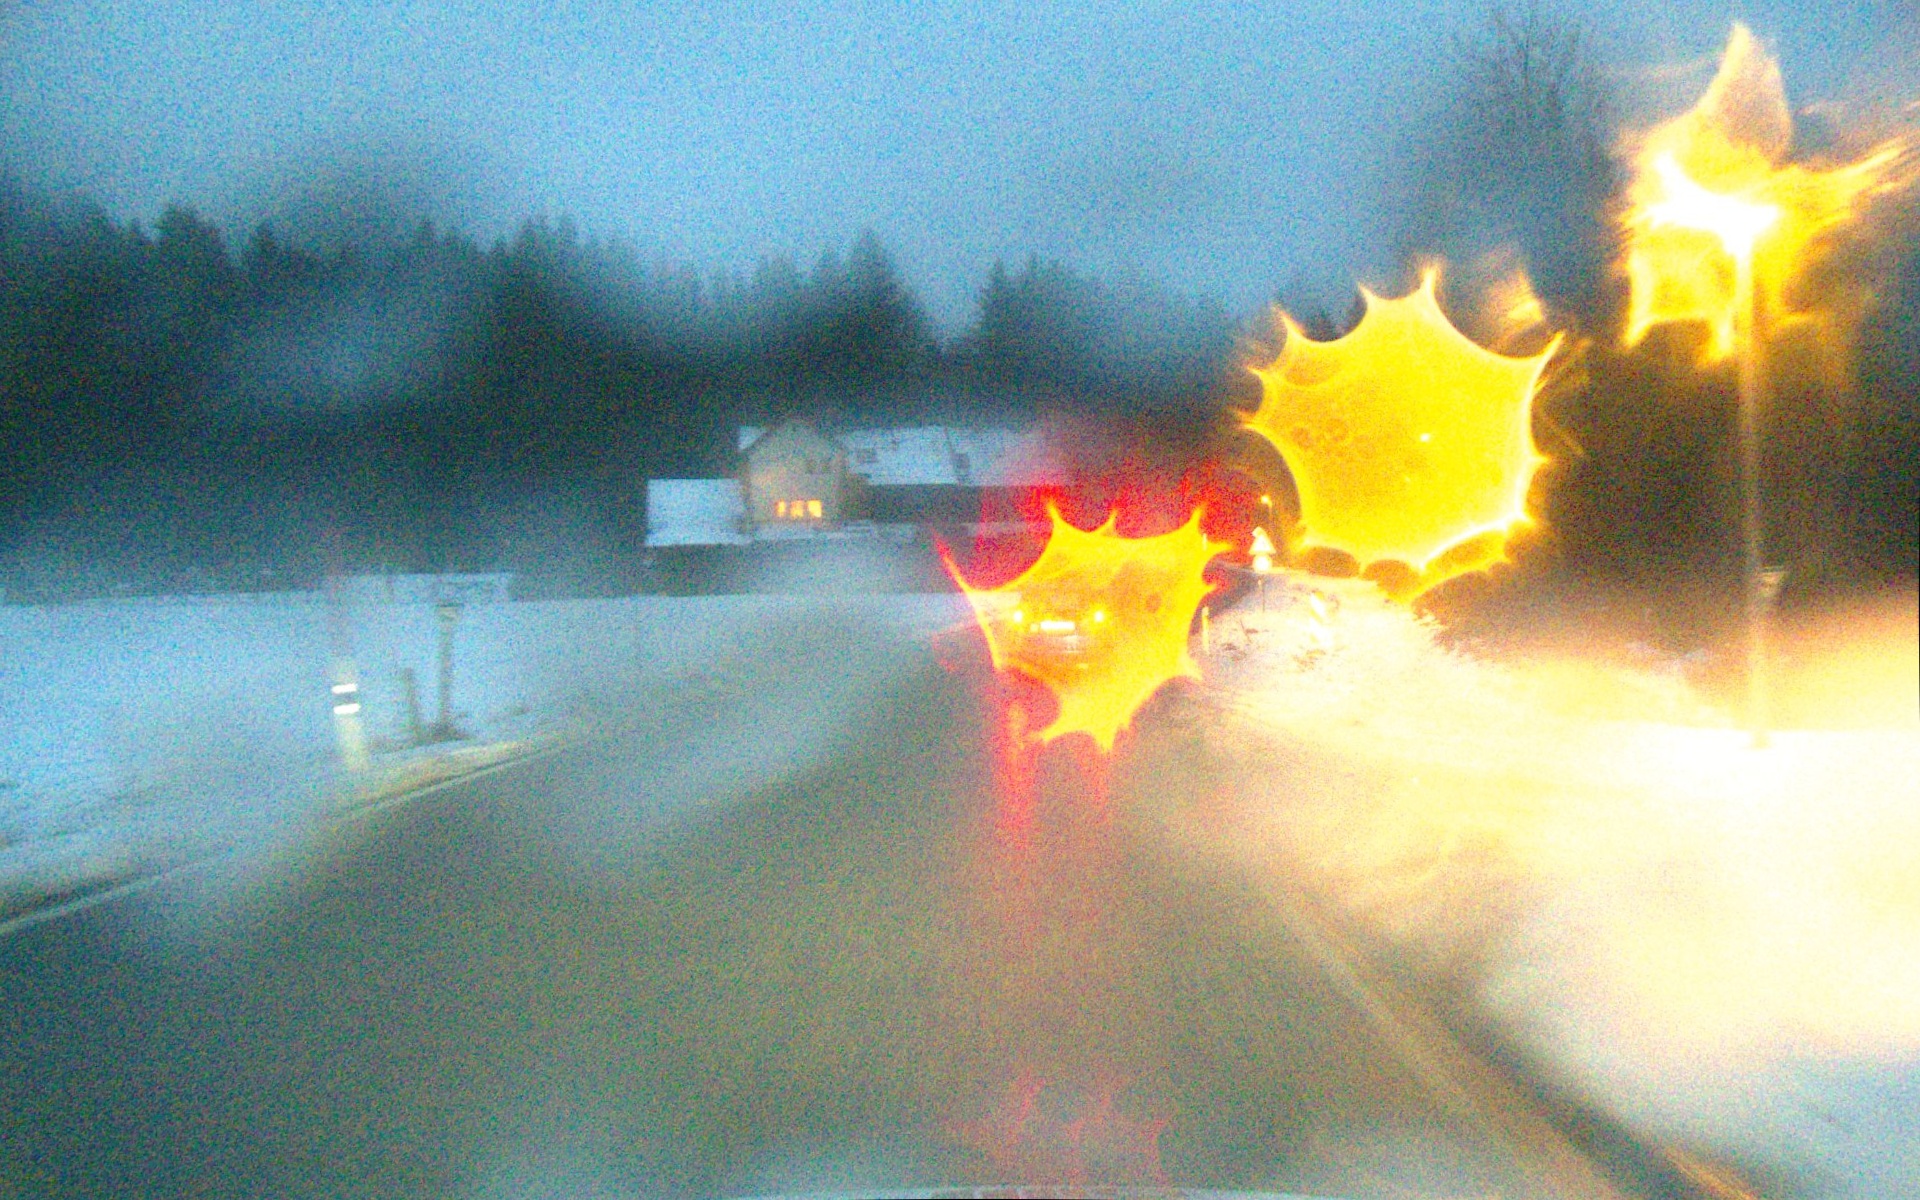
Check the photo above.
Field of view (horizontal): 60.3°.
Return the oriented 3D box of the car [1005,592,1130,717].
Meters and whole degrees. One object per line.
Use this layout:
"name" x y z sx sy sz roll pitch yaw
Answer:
"car" 1.688 0.848 27.075 1.785 1.828 3.578 -3 -1 1
